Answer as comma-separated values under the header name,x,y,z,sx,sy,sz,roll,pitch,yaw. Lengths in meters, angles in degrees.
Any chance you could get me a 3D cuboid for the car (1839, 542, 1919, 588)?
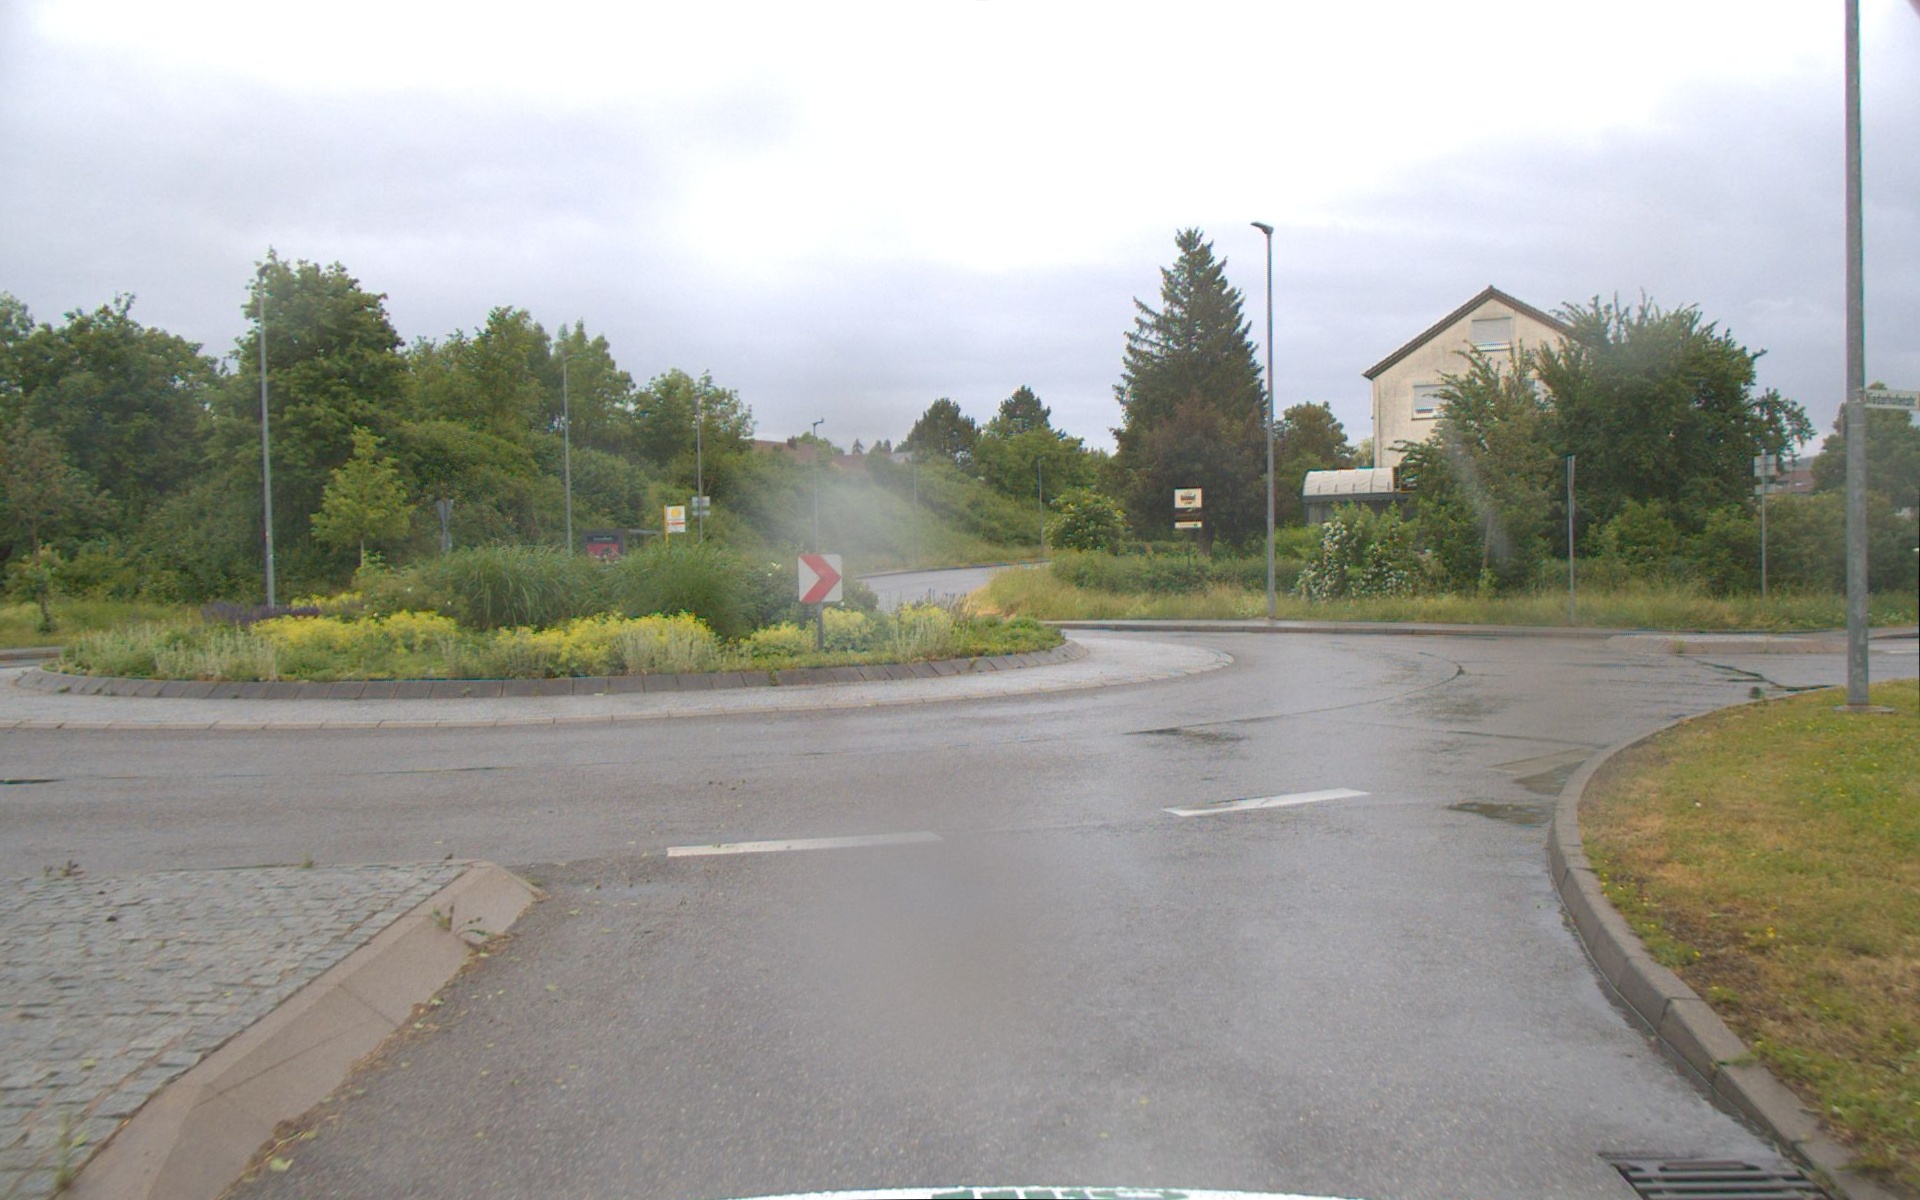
name,x,y,z,sx,sy,sz,roll,pitch,yaw
car,40.226,-1.509,71.213,3.923,1.859,1.888,-2,0,39
